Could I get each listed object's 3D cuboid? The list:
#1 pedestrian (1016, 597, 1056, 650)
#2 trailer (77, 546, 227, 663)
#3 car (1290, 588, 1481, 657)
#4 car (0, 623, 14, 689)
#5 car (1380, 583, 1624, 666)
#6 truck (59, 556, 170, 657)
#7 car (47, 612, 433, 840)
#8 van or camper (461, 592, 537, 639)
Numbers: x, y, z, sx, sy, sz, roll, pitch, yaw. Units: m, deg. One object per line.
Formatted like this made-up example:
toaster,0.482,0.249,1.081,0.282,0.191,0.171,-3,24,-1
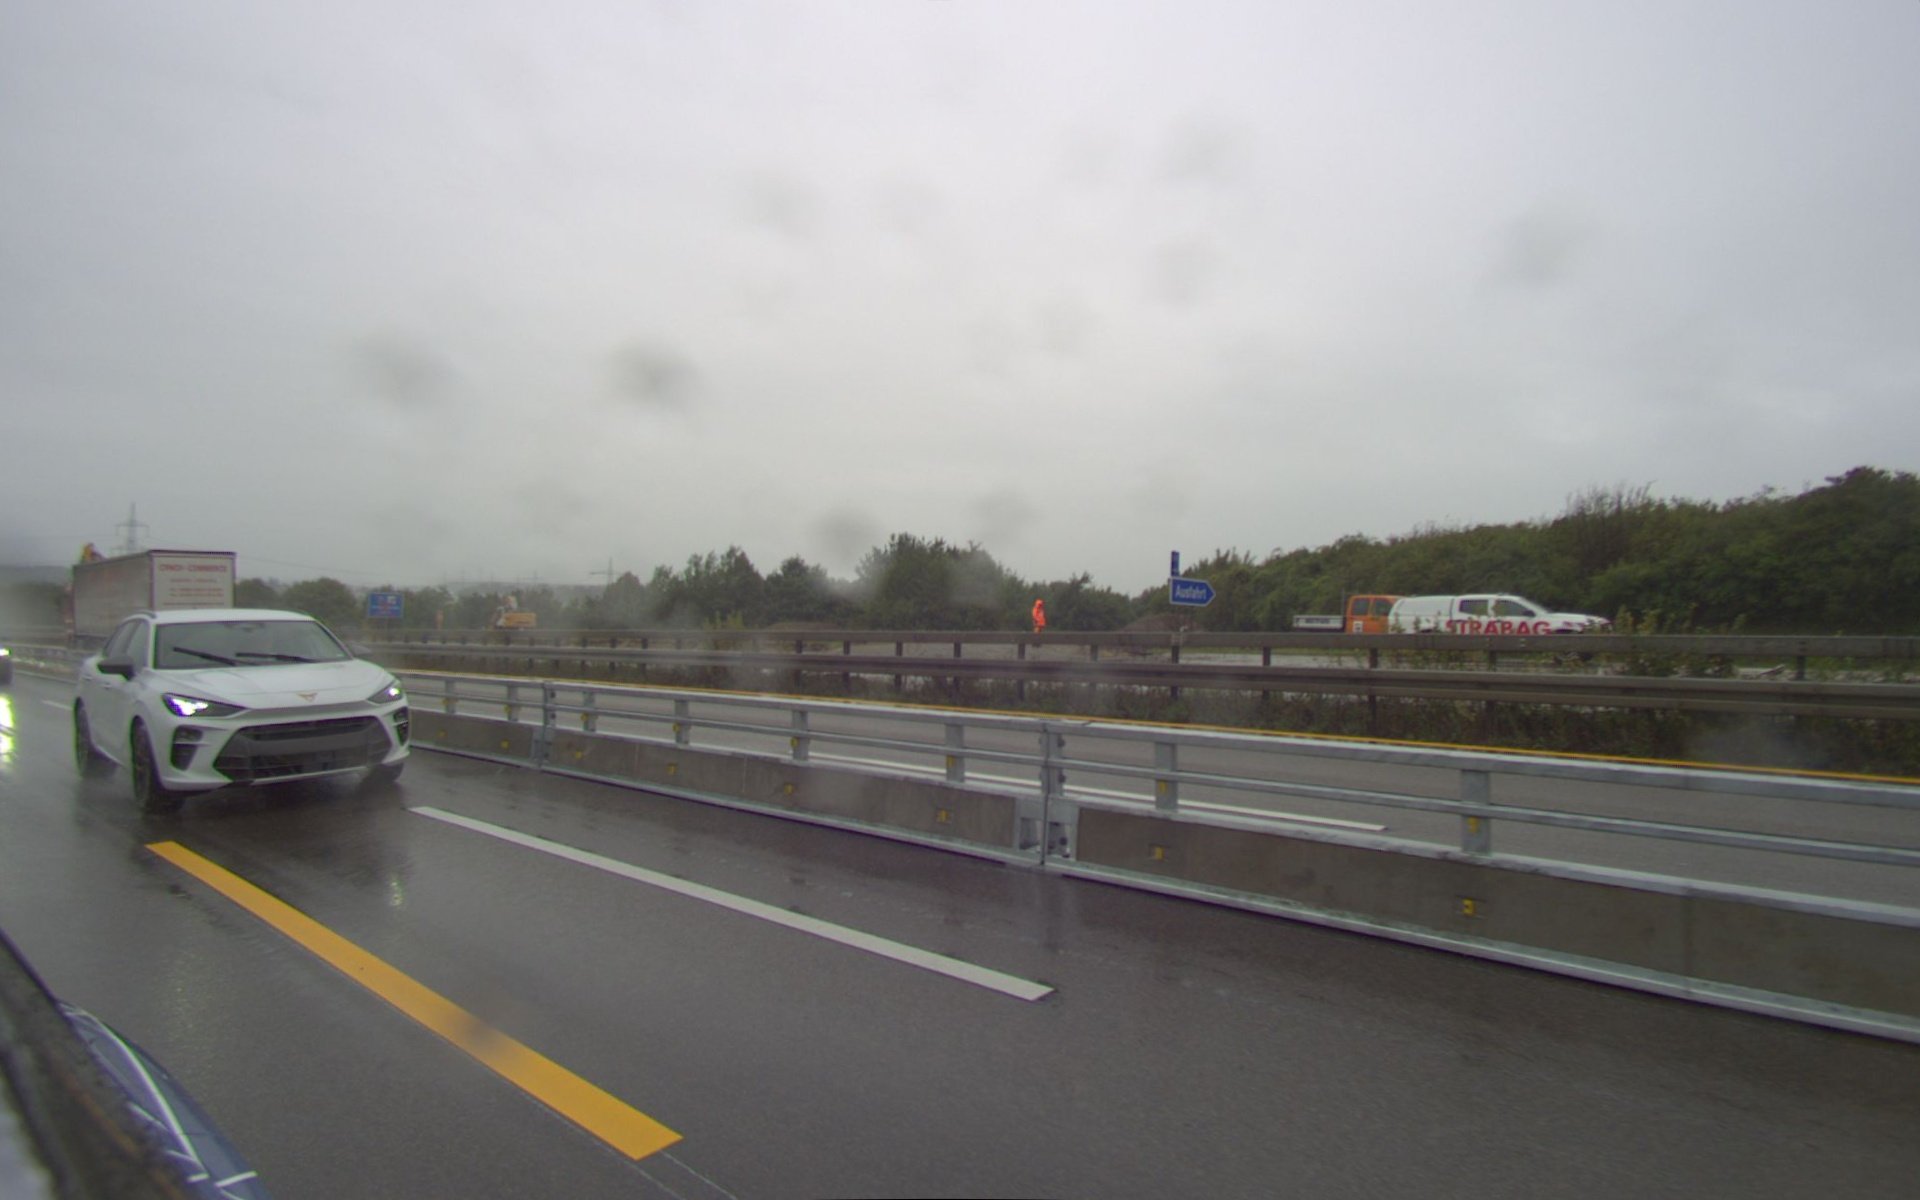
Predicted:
pedestrian,2.998,0.926,39.797,1.125,2.029,1.094,-1,0,38
trailer,-32.070,0.227,39.896,11.923,4.037,2.585,-1,0,42
car,13.940,0.723,33.582,2.329,2.092,5.596,0,-1,-28
car,-26.300,1.453,26.332,5.194,1.640,2.042,-2,-1,42
car,14.209,0.648,26.767,5.362,1.981,2.072,-2,-1,41
truck,-37.292,0.296,44.529,7.282,4.078,2.615,-1,0,41
car,-6.857,0.922,9.377,5.006,1.562,1.907,-2,-1,42
van or camper,-45.058,1.525,98.804,8.499,4.356,3.333,-1,0,40
